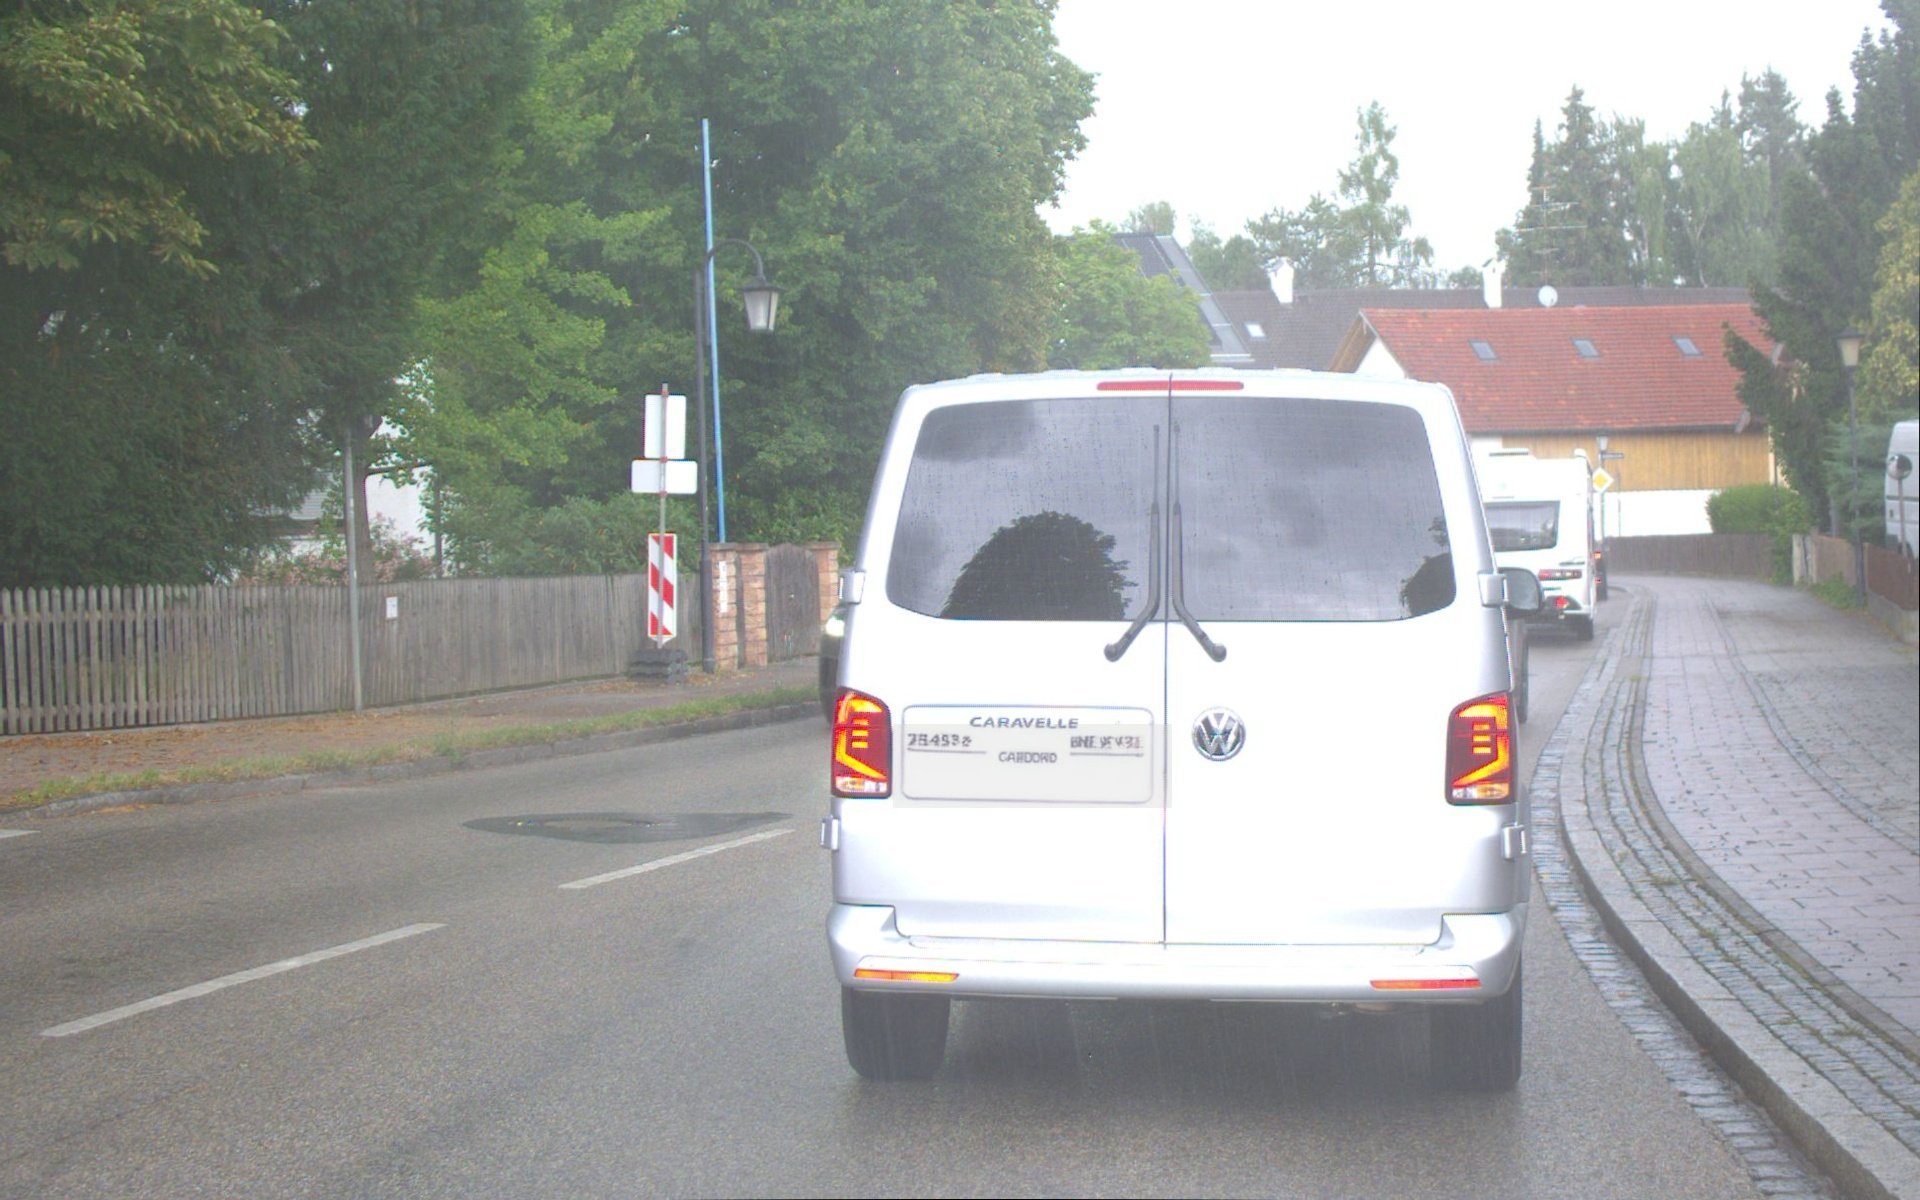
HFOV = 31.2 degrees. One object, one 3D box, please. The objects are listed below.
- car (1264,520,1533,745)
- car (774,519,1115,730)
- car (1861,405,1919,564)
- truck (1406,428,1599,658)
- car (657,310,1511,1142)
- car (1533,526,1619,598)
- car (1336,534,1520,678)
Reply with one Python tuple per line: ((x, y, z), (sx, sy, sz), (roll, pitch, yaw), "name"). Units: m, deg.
((3.467, 0.212, 26.627), (1.801, 1.583, 3.998), (1, 1, 11), "car")
((-0.039, 0.147, 28.546), (1.994, 1.589, 4.189), (1, 1, 12), "car")
((14.177, -1.581, 47.454), (1.993, 2.166, 4.953), (1, 0, -2), "car")
((7.865, -0.795, 49.348), (2.476, 3.063, 6.293), (1, 0, 11), "truck")
((0.592, 0.279, 10.455), (1.802, 2.007, 3.997), (1, 0, 14), "car")
((13.546, -0.828, 75.468), (1.801, 1.503, 3.998), (1, 1, 11), "car")
((5.281, 0.049, 38.436), (1.801, 1.503, 3.998), (1, 1, 11), "car")
